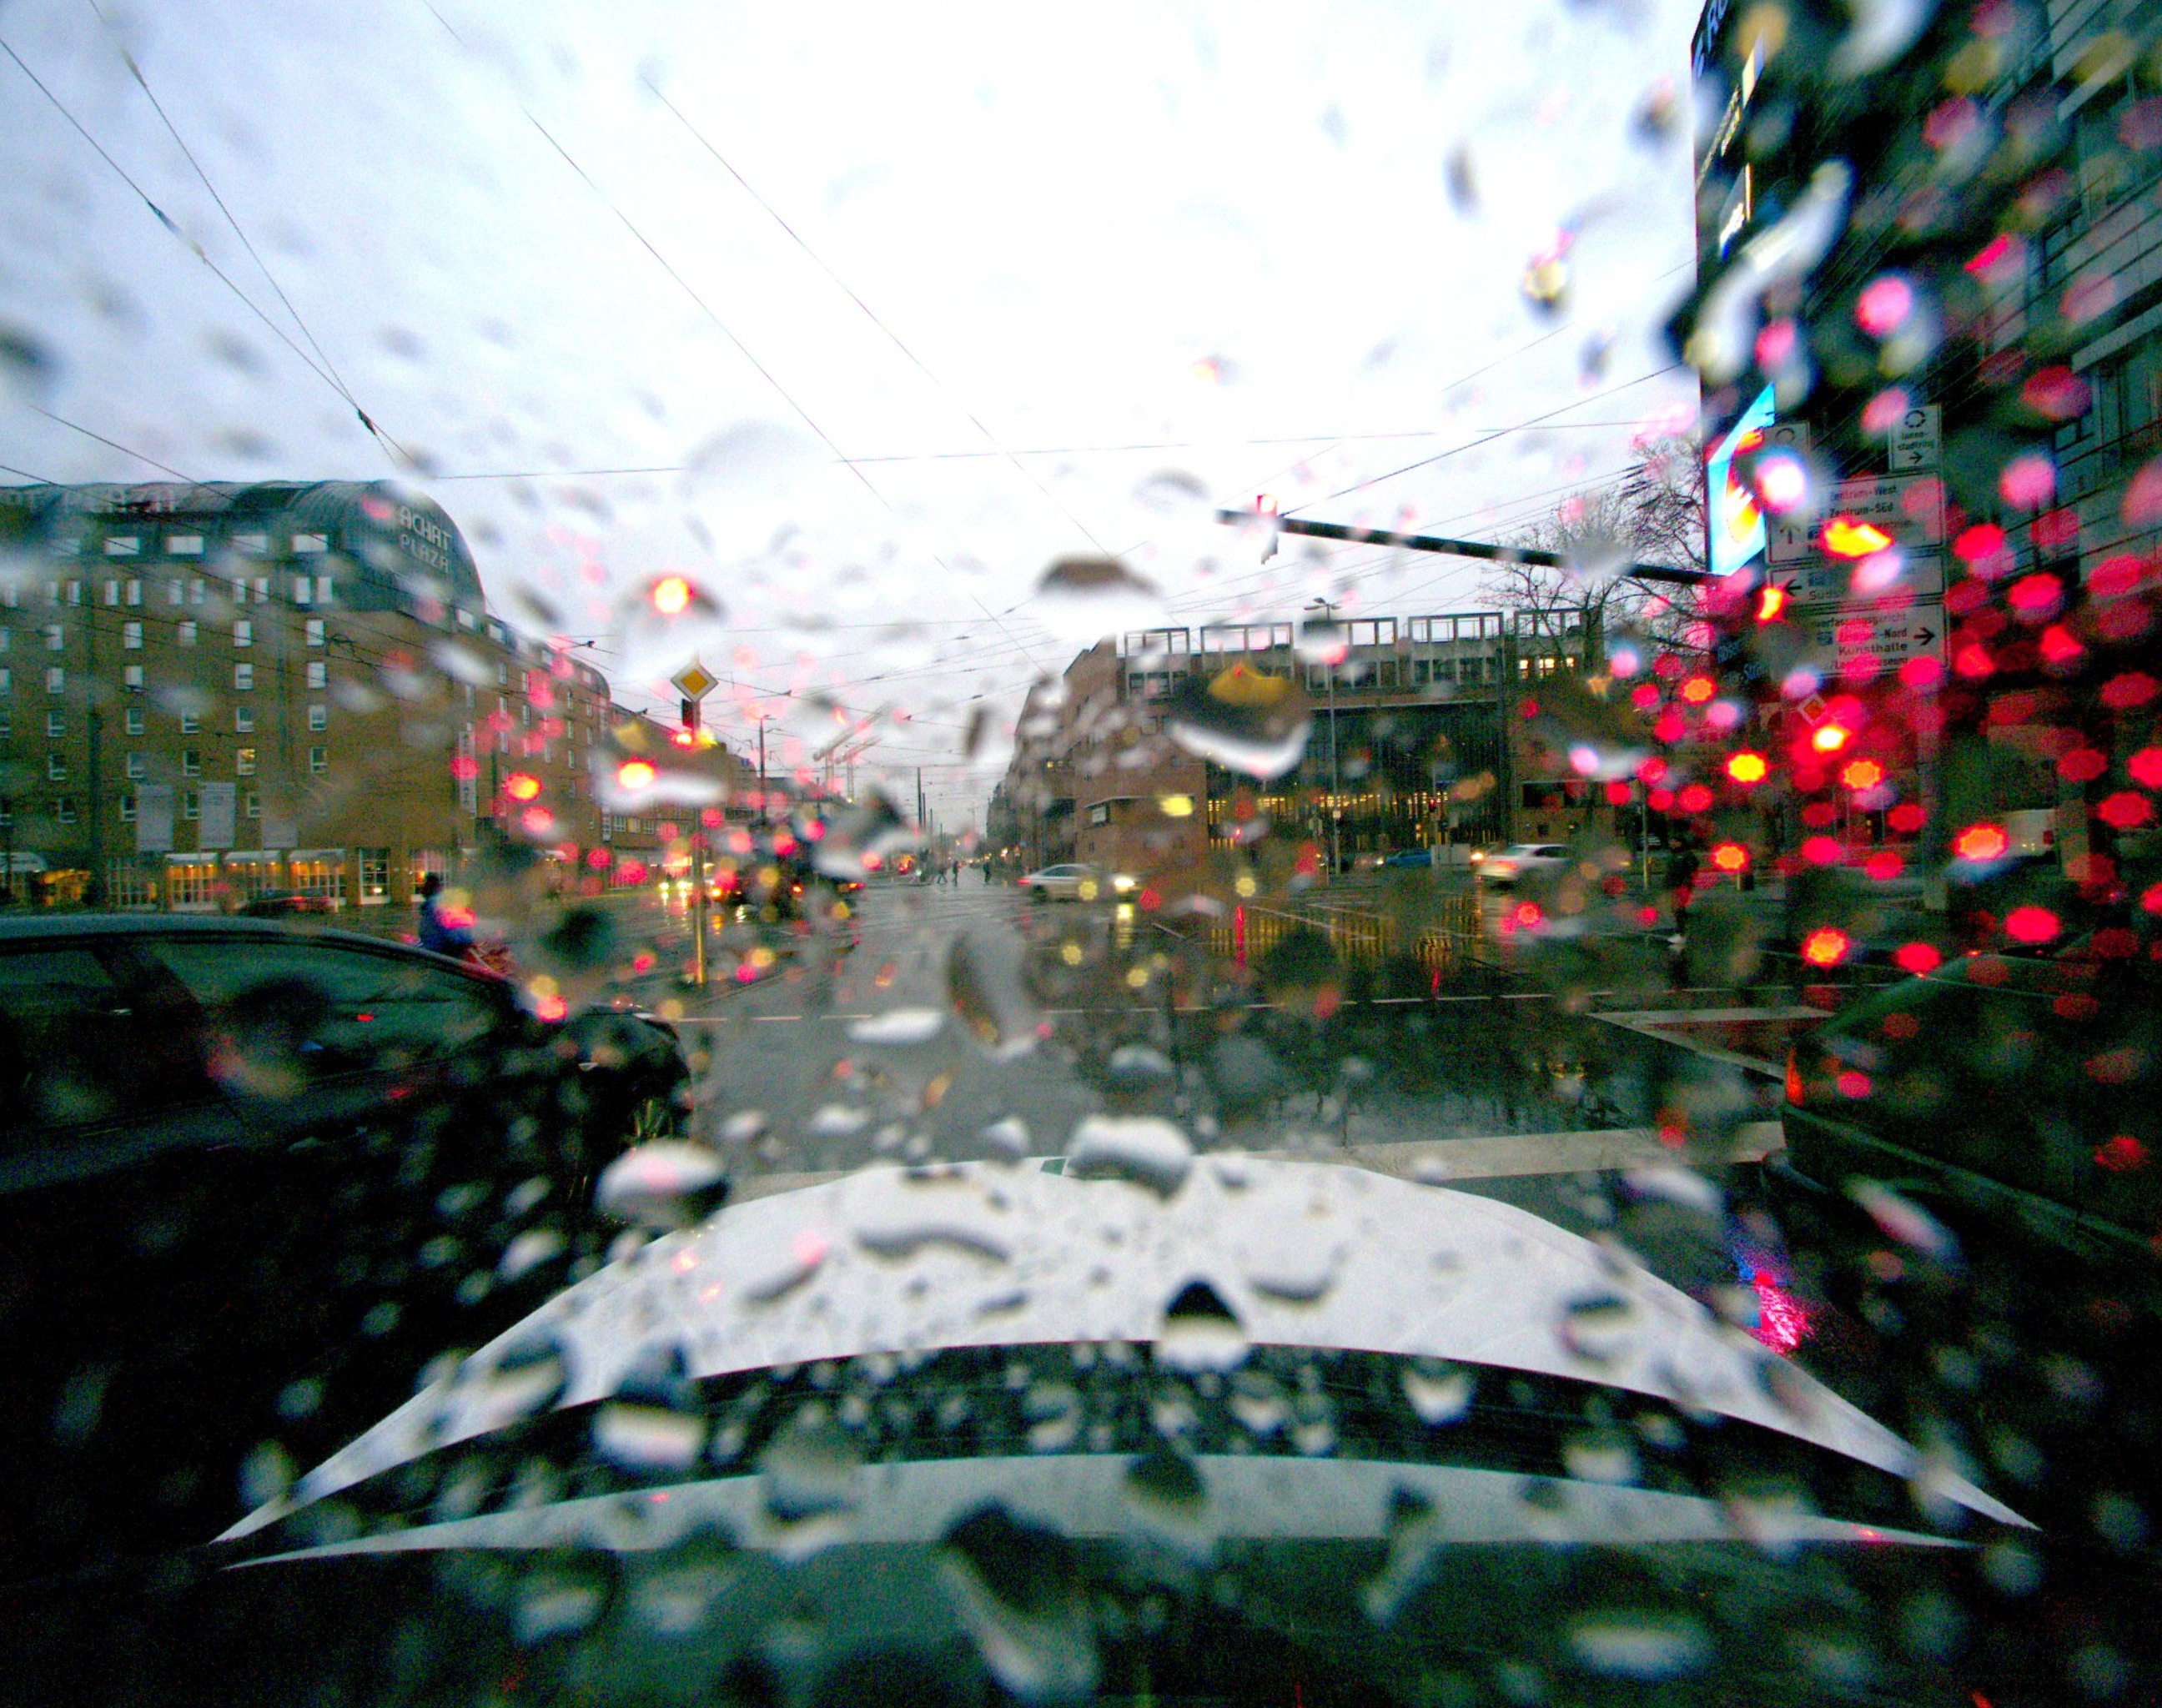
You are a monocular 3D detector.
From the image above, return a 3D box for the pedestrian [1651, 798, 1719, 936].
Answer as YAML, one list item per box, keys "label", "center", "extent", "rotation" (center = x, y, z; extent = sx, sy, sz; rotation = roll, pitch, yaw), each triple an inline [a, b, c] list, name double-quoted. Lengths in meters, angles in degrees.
- label: "pedestrian"
  center: [9.826, 0.214, 13.268]
  extent: [0.574, 2.184, 0.619]
  rotation: [-1, -1, -4]

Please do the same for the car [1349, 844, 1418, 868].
- label: "car"
  center: [19.144, 0.118, 51.597]
  extent: [3.713, 1.263, 1.845]
  rotation: [-2, 4, -4]

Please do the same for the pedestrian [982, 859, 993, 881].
- label: "pedestrian"
  center: [-7.614, 1.294, 66.310]
  extent: [0.843, 1.687, 0.647]
  rotation: [-2, 0, -9]

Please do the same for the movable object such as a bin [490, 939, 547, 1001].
- label: "movable object such as a bin"
  center: [-7.149, 1.462, 10.349]
  extent: [0.541, 0.699, 0.407]
  rotation: [-2, -2, -40]

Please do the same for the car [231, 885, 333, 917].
- label: "car"
  center: [-41.326, 2.429, 42.165]
  extent: [3.727, 1.459, 1.706]
  rotation: [-2, 0, 4]

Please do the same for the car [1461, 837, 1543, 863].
- label: "car"
  center: [24.819, -0.258, 48.081]
  extent: [3.979, 1.288, 1.845]
  rotation: [-2, 4, -4]

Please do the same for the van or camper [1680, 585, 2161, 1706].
- label: "van or camper"
  center: [2.674, 0.491, 0.302]
  extent: [1.750, 1.906, 4.420]
  rotation: [-1, 0, 2]

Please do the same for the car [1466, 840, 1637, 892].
- label: "car"
  center: [16.281, 0.409, 28.337]
  extent: [4.808, 1.561, 2.048]
  rotation: [-2, 0, -4]

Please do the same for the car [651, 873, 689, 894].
- label: "car"
  center: [-36.017, 2.559, 71.505]
  extent: [1.995, 1.670, 3.983]
  rotation: [-2, 0, -12]

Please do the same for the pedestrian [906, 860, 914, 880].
- label: "pedestrian"
  center: [-15.297, 1.432, 72.832]
  extent: [0.694, 1.724, 0.762]
  rotation: [-2, 0, -13]

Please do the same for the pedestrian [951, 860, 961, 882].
- label: "pedestrian"
  center: [-9.927, 1.329, 64.647]
  extent: [0.665, 1.725, 0.487]
  rotation: [-2, 0, -9]

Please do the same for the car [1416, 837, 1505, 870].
- label: "car"
  center: [20.432, -0.060, 43.896]
  extent: [3.979, 1.504, 1.845]
  rotation: [-2, 4, -4]

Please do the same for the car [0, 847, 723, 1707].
- label: "car"
  center: [-2.742, 0.800, 2.184]
  extent: [1.623, 1.523, 3.945]
  rotation: [-1, 2, 3]

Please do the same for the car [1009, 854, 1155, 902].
- label: "car"
  center: [0.039, 0.902, 30.625]
  extent: [4.941, 1.607, 2.267]
  rotation: [-2, 0, 25]

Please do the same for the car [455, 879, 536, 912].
- label: "car"
  center: [-28.012, 1.953, 38.941]
  extent: [3.948, 1.447, 1.722]
  rotation: [-2, 0, 32]

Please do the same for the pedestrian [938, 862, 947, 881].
- label: "pedestrian"
  center: [-11.327, 1.443, 66.557]
  extent: [0.700, 1.484, 0.574]
  rotation: [-2, 0, -9]

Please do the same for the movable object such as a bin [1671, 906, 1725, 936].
- label: "movable object such as a bin"
  center: [10.452, 1.126, 13.802]
  extent: [0.676, 0.469, 0.312]
  rotation: [-1, -1, -4]

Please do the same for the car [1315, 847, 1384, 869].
- label: "car"
  center: [18.245, 0.289, 55.448]
  extent: [3.977, 1.310, 1.998]
  rotation: [-2, 0, -2]

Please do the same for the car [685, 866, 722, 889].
- label: "car"
  center: [-33.007, 1.991, 71.326]
  extent: [1.995, 1.861, 3.983]
  rotation: [-2, 0, -12]

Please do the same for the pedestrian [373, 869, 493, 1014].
- label: "pedestrian"
  center: [-7.834, 1.018, 9.861]
  extent: [1.042, 1.601, 0.707]
  rotation: [-3, -1, -41]

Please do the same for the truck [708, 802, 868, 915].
- label: "truck"
  center: [-10.915, 0.201, 29.836]
  extent: [2.864, 3.633, 7.436]
  rotation: [-2, 0, -41]

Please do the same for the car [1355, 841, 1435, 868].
- label: "car"
  center: [18.312, 0.012, 47.528]
  extent: [3.979, 1.263, 1.845]
  rotation: [-2, 4, -4]
